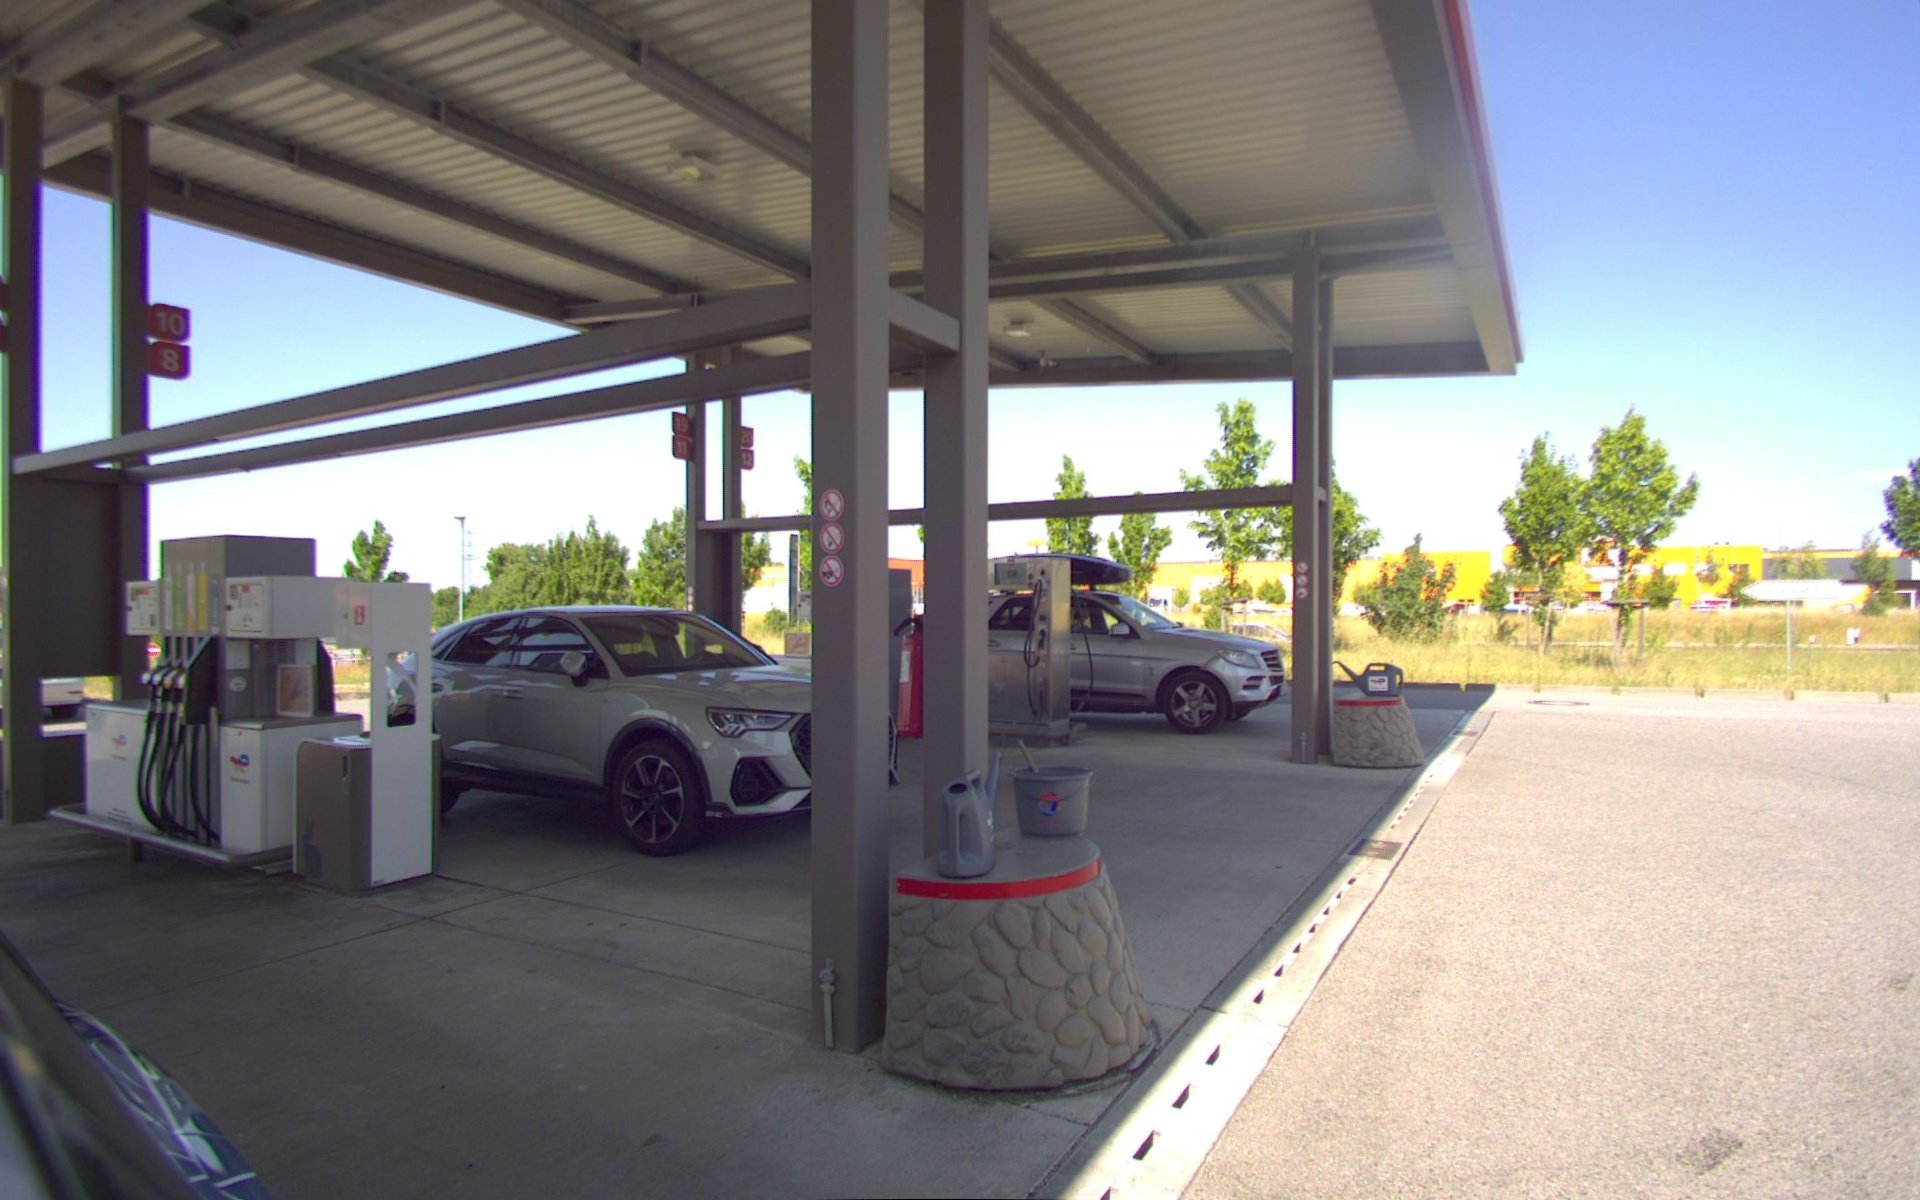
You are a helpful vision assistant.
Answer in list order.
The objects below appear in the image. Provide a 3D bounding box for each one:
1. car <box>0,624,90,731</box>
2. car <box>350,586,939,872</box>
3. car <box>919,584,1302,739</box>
[{"bbox_3d":[-15.212,1.122,15.471,4.309,1.439,1.773,0,0,33],"label":"car"},{"bbox_3d":[-2.437,0.751,7.421,4.311,1.553,1.766,-1,-1,32],"label":"car"},{"bbox_3d":[1.888,0.730,13.017,4.514,1.700,1.848,-1,-1,28],"label":"car"}]
